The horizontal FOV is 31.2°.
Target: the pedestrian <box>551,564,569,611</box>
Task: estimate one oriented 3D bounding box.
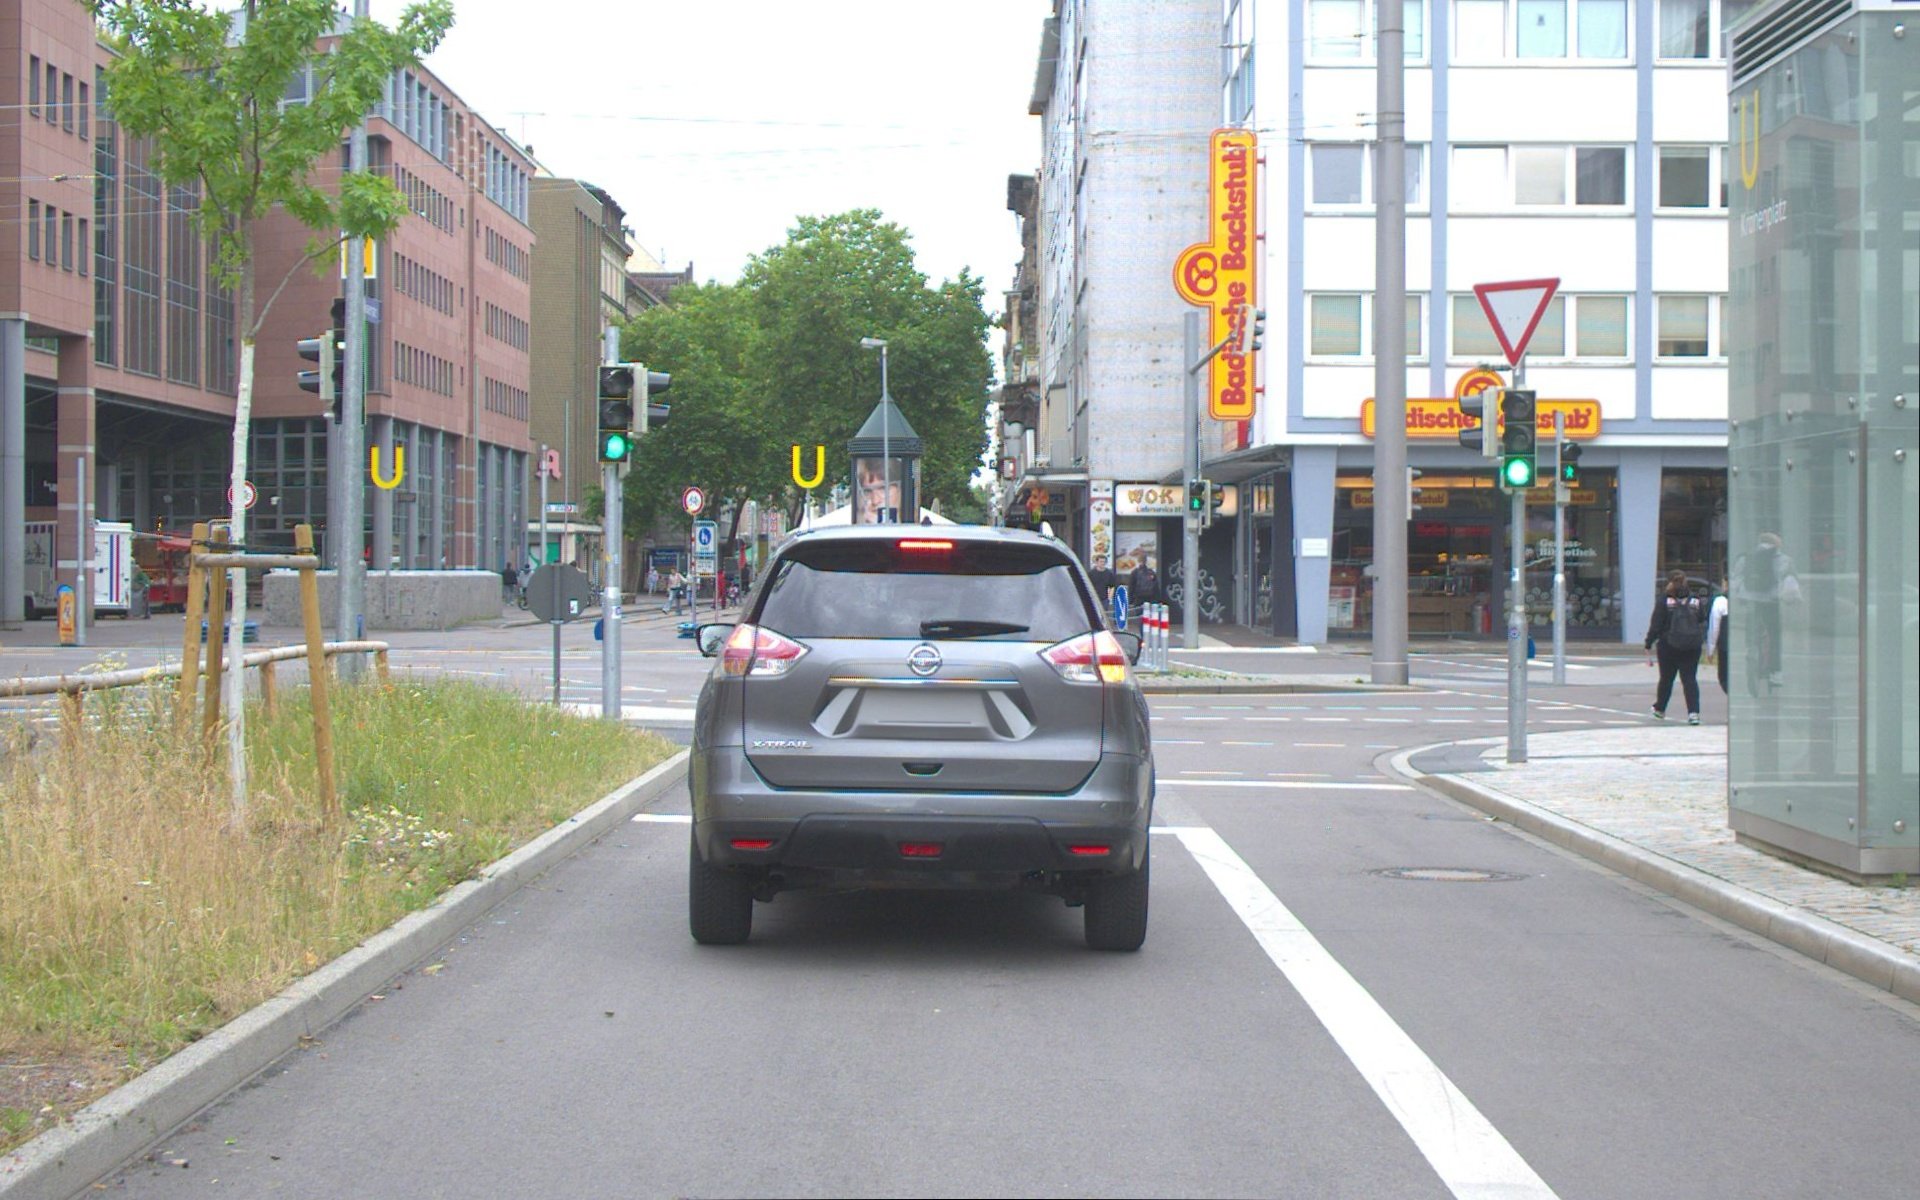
[{"bbox_3d":[-14.680,-0.462,126.090,0.600,1.708,0.656,1,0,-7],"label":"pedestrian"}]

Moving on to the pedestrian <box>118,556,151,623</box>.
[{"bbox_3d":[-22.973,-0.294,95.678,0.732,1.835,0.703,1,0,-24],"label":"pedestrian"}]

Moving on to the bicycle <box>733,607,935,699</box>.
[{"bbox_3d":[-1.589,0.635,42.462,0.902,1.041,3.277,1,0,-34],"label":"bicycle"}]

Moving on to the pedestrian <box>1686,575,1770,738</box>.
[{"bbox_3d":[8.439,0.611,37.797,0.621,1.755,0.780,1,0,-7],"label":"pedestrian"}]

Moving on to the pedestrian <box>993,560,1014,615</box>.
[{"bbox_3d":[1.342,-0.393,106.358,0.611,1.699,0.619,1,0,1],"label":"pedestrian"}]

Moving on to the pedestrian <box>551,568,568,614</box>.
[{"bbox_3d":[-15.186,-0.332,130.385,0.600,1.708,0.656,1,0,-7],"label":"pedestrian"}]

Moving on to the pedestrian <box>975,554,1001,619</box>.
[{"bbox_3d":[0.738,-0.368,91.533,0.643,1.699,0.559,1,0,1],"label":"pedestrian"}]

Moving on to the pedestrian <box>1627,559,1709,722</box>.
[{"bbox_3d":[7.767,0.432,37.730,0.621,1.755,0.780,1,0,-7],"label":"pedestrian"}]

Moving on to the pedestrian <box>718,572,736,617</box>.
[{"bbox_3d":[-9.001,-0.205,132.909,0.600,1.708,0.656,1,0,-7],"label":"pedestrian"}]

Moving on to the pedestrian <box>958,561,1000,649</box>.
[{"bbox_3d":[0.377,0.098,68.711,0.732,1.740,0.663,1,0,-7],"label":"pedestrian"}]

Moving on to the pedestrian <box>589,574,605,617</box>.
[{"bbox_3d":[-14.818,-0.187,140.479,0.600,1.708,0.656,1,0,-7],"label":"pedestrian"}]

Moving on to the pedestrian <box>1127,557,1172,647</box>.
[{"bbox_3d":[3.643,0.038,65.920,0.710,1.699,0.734,1,0,13],"label":"pedestrian"}]

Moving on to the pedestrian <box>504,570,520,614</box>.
[{"bbox_3d":[-17.708,-0.326,135.860,0.600,1.708,0.656,1,0,-7],"label":"pedestrian"}]

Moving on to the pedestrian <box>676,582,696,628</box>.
[{"bbox_3d":[-9.258,0.163,116.271,0.600,1.531,0.656,1,0,-7],"label":"pedestrian"}]

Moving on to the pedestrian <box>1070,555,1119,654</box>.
[{"bbox_3d":[2.520,0.084,64.457,0.712,1.826,1.017,1,0,-7],"label":"pedestrian"}]

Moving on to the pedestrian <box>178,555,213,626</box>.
[{"bbox_3d":[-20.163,-0.252,90.657,0.732,1.835,0.702,1,0,-25],"label":"pedestrian"}]

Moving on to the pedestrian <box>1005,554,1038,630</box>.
[{"bbox_3d":[1.475,-0.190,82.378,0.737,1.815,0.662,0,0,-2],"label":"pedestrian"}]

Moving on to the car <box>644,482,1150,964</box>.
[{"bbox_3d":[-0.165,0.491,15.010,1.863,1.769,4.566,-1,-1,2],"label":"car"}]

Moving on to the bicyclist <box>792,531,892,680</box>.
[{"bbox_3d":[-1.451,0.067,42.239,0.834,1.806,0.877,1,1,-35],"label":"bicyclist"}]
